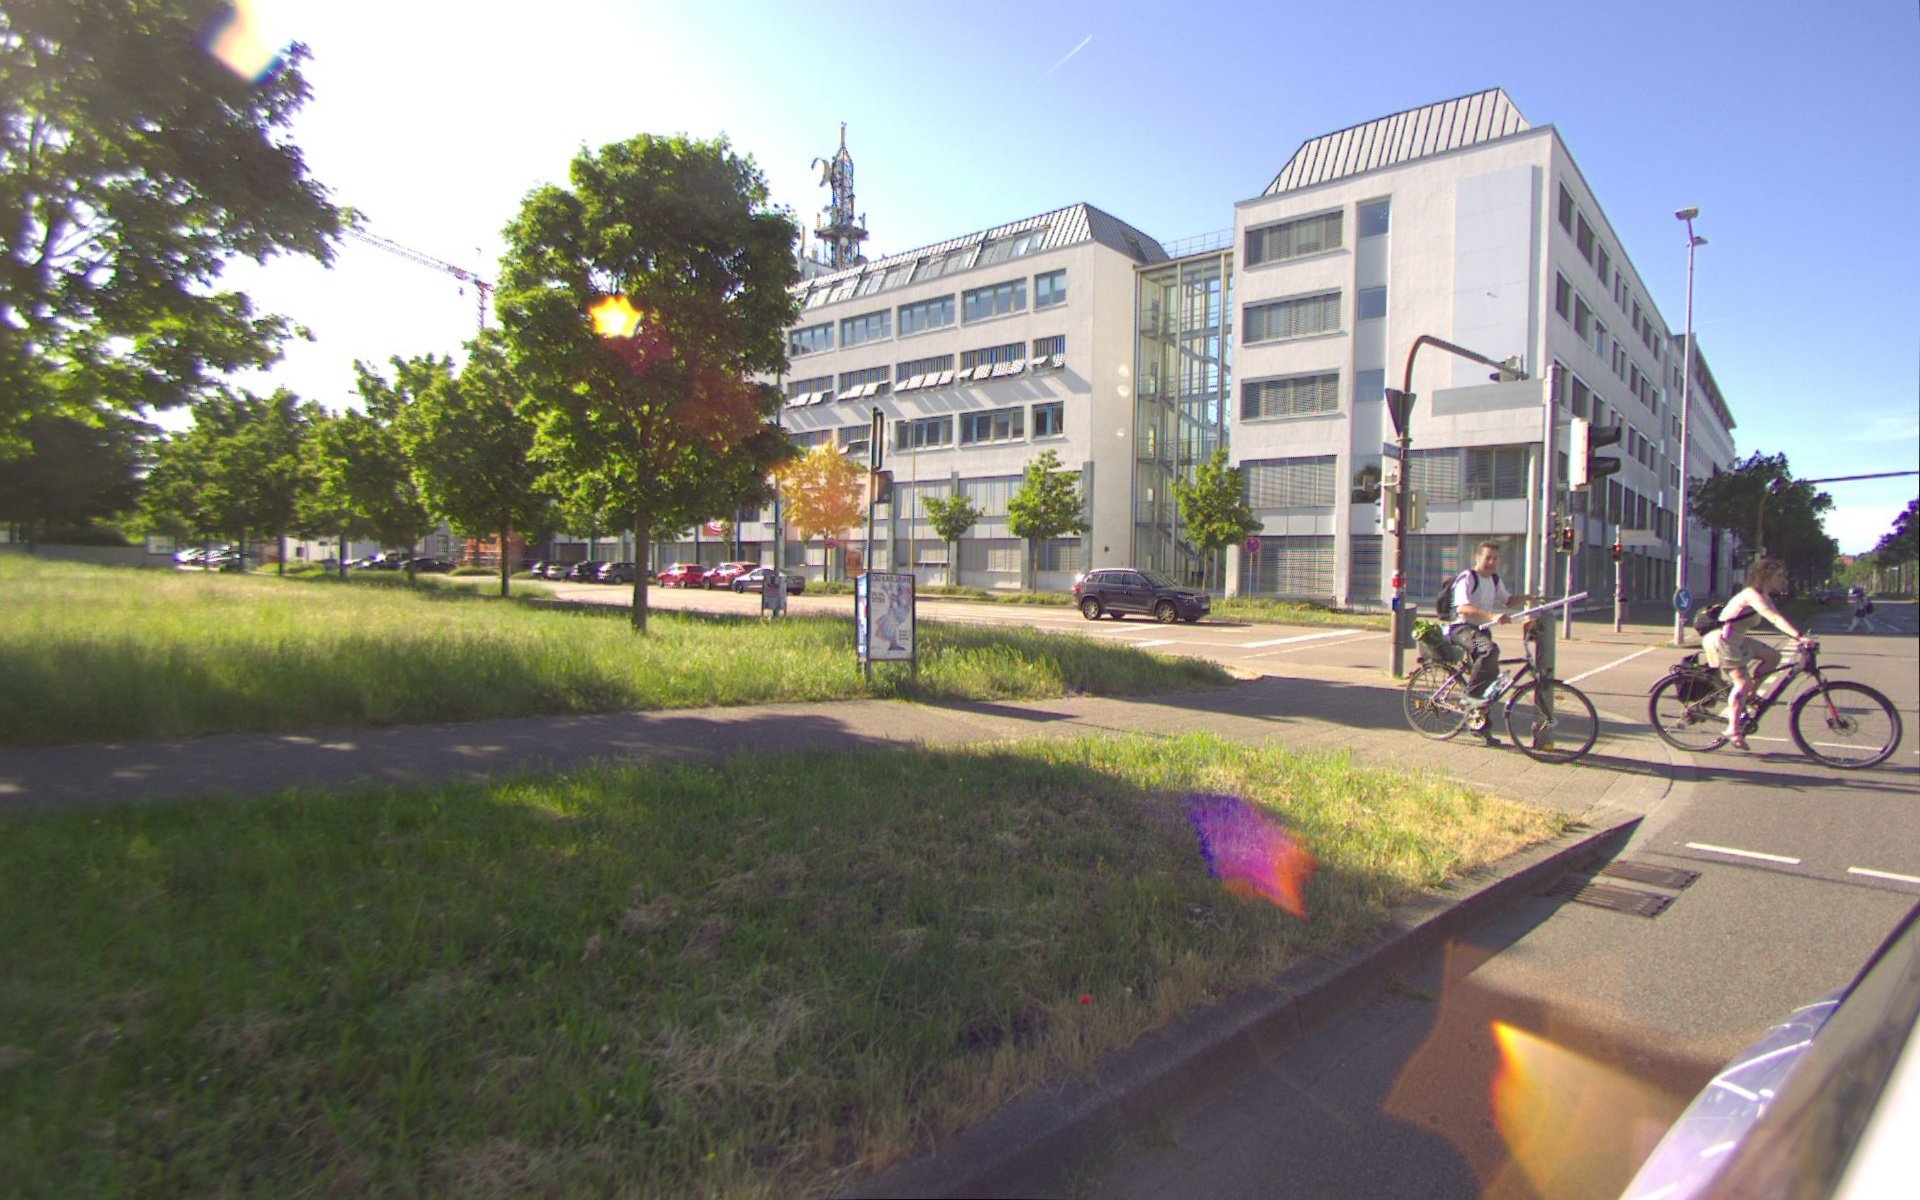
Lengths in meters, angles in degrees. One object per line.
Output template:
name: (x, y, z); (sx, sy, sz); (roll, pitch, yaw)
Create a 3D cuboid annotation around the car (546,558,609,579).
car: (-27.366, -2.224, 72.444); (1.653, 1.437, 3.952); (2, 2, 40)

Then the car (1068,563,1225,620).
car: (5.890, -0.341, 32.321); (4.617, 1.642, 1.969); (3, 3, 43)

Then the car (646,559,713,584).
car: (-17.424, -1.763, 62.685); (4.267, 1.437, 1.892); (2, 2, 39)

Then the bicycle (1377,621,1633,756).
bicycle: (4.813, 0.727, 9.036); (0.841, 0.975, 1.826); (0, 2, -41)

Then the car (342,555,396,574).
car: (-58.069, -3.432, 99.418); (1.911, 1.777, 4.224); (2, 2, 41)

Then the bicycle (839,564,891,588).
bicycle: (-5.709, -1.432, 60.861); (3.522, 1.365, 0.975); (3, 2, 42)

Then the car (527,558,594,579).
car: (-29.444, -2.306, 74.657); (1.911, 1.437, 4.226); (2, 2, 40)

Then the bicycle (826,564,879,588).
bicycle: (-6.404, -1.413, 60.087); (3.522, 1.365, 0.975); (3, 2, 42)

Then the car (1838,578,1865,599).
car: (76.678, -0.971, 87.058); (1.687, 1.731, 4.179); (2, 2, 41)

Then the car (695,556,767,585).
car: (-13.444, -1.735, 59.374); (4.267, 1.614, 1.892); (2, 2, 39)

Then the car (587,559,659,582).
car: (-22.610, -1.989, 67.957); (1.911, 1.437, 4.226); (2, 2, 40)

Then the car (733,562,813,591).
car: (-9.984, -1.255, 53.884); (4.267, 1.437, 1.892); (2, 2, 39)

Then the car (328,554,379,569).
car: (-62.545, -3.980, 104.406); (1.911, 1.437, 4.226); (2, 2, 40)

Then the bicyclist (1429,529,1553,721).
bicyclist: (4.768, 0.200, 9.087); (0.835, 1.620, 0.714); (0, 1, -42)

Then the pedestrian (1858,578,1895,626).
pedestrian: (33.216, 0.072, 36.693); (0.720, 1.718, 0.734); (1, 1, -26)

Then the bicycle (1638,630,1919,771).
bicycle: (7.168, 0.816, 8.890); (0.801, 0.975, 1.829); (0, 2, -35)

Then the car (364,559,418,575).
car: (-55.401, -3.193, 98.606); (1.911, 1.437, 4.226); (2, 2, 40)

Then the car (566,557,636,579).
car: (-24.737, -2.189, 69.817); (1.911, 1.437, 4.226); (2, 2, 40)

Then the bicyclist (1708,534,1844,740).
bicyclist: (7.168, 0.294, 8.896); (0.801, 1.712, 0.715); (0, 1, -36)
